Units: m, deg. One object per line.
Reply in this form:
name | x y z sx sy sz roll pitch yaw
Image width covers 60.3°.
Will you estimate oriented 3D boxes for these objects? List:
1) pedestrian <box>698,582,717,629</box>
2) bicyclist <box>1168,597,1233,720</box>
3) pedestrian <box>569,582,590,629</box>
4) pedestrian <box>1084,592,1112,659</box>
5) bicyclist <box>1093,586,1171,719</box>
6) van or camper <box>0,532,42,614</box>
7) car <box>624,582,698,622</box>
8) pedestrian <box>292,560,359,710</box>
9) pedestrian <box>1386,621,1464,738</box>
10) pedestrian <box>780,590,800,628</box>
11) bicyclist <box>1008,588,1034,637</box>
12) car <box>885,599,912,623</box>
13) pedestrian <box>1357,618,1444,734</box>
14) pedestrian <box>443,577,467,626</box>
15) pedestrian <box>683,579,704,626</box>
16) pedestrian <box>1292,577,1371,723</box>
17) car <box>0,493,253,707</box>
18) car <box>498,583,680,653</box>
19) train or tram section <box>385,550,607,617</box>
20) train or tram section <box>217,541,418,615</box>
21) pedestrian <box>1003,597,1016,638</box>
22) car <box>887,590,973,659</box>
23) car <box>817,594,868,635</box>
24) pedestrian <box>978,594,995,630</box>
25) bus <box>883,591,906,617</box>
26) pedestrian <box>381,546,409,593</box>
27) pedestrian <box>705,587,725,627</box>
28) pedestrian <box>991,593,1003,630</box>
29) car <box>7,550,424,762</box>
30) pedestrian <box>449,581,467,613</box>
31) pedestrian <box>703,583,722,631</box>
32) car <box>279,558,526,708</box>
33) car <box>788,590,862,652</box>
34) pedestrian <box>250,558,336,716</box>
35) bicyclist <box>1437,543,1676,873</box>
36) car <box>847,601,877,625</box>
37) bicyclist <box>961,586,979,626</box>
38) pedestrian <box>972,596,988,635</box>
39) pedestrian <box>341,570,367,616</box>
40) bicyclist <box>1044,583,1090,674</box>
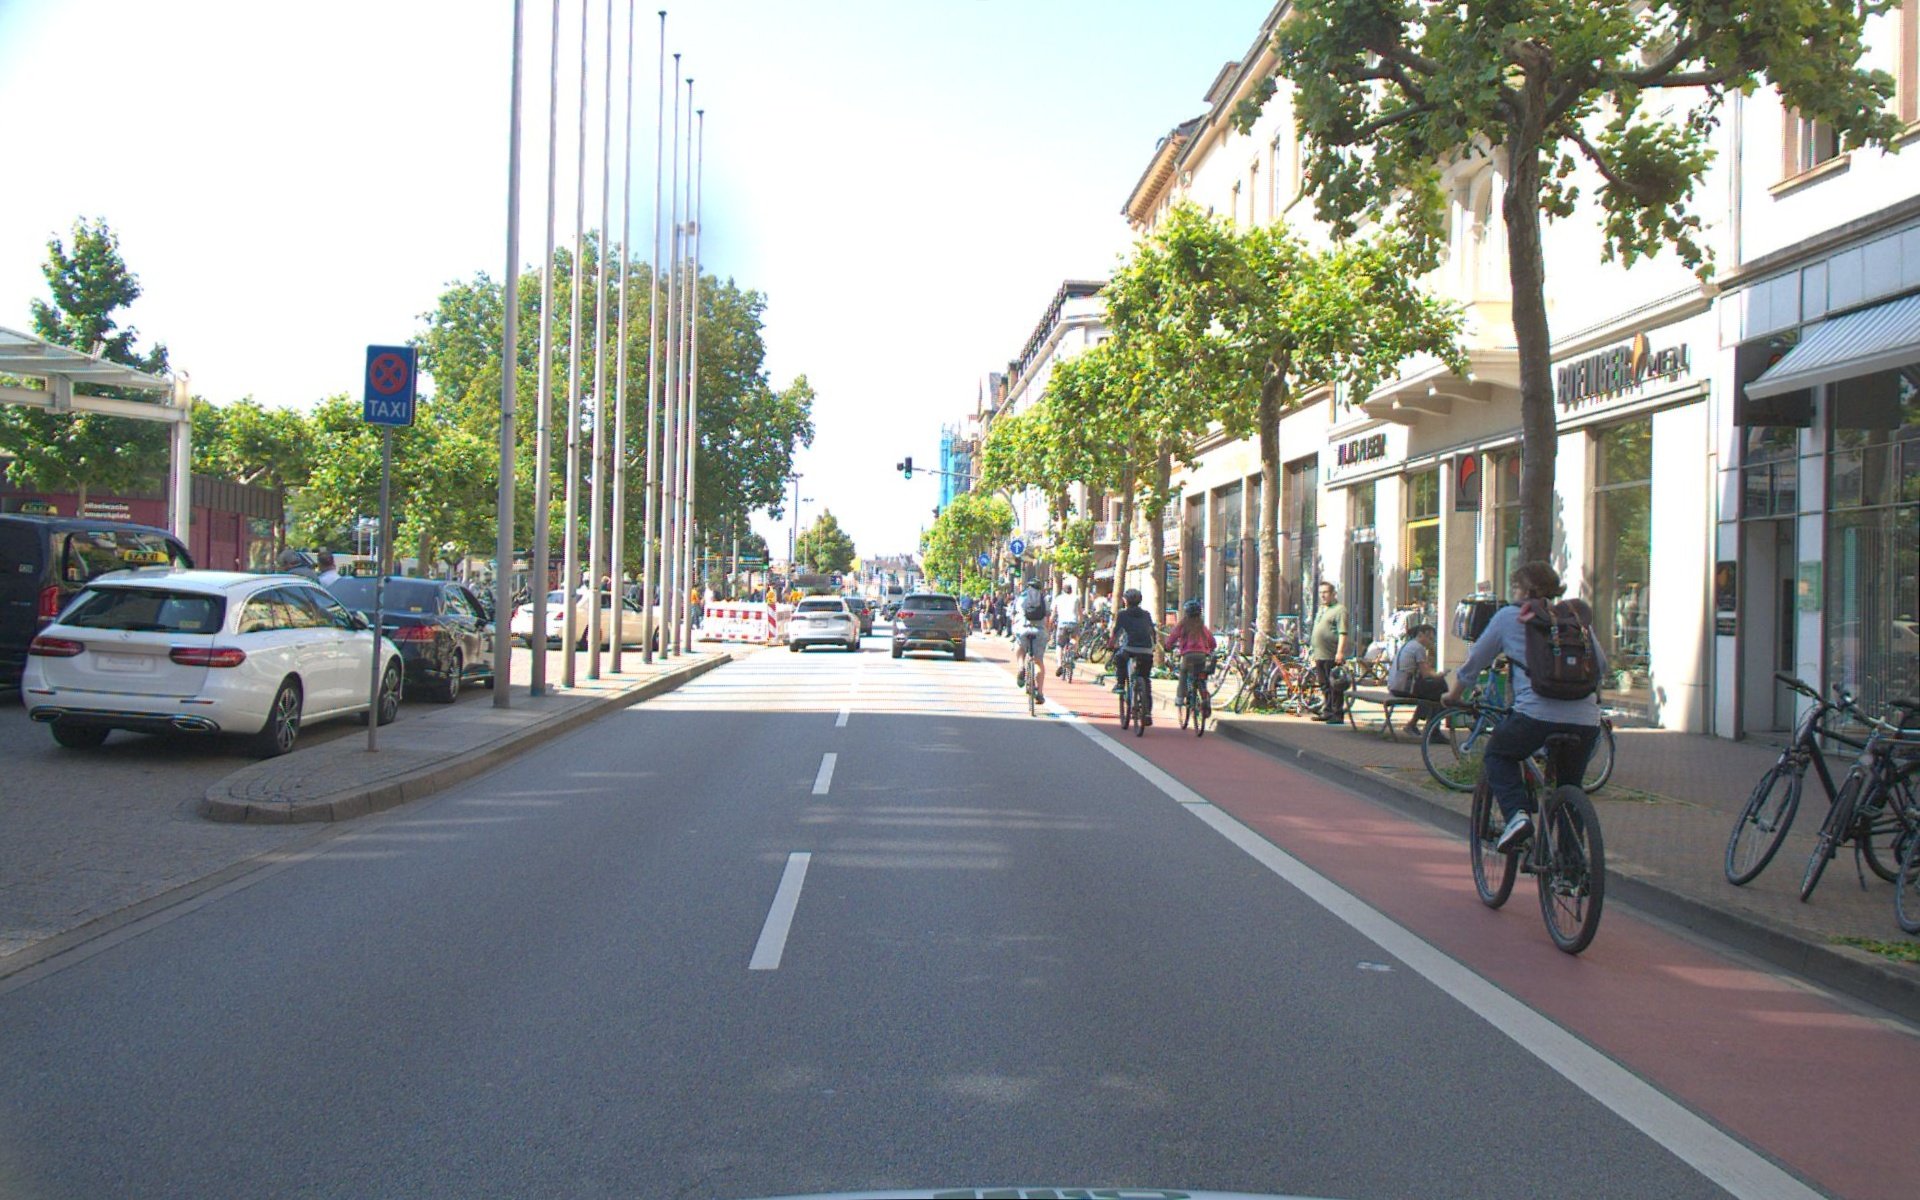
pedestrian | -9.735 0.214 63.786 0.528 1.810 0.606 2 -1 3
bicyclist | 2.810 0.670 19.389 0.588 1.381 0.720 0 2 -6
pedestrian | -14.547 0.219 63.269 0.572 1.752 0.789 1 -5 -1
pedestrian | 3.491 0.640 41.823 0.602 1.640 0.744 1 0 -2
bicyclist | 1.969 0.592 19.042 0.685 1.466 0.789 3 0 -6
van or camper | -23.833 -0.674 38.996 1.836 1.952 5.020 1 -1 -4
car | -15.811 0.133 87.696 1.820 1.989 4.762 1 -1 18
pedestrian | -7.841 0.424 20.442 0.522 1.824 0.537 1 0 37
pedestrian | 5.112 0.866 18.197 0.626 1.254 0.596 2 -1 -5
pedestrian | -7.340 0.374 71.388 0.619 1.623 0.687 1 -1 18
bicyclist | 2.320 0.465 62.864 0.569 1.828 0.845 -1 0 -37
car | -4.703 0.847 126.407 1.809 1.697 3.996 3 0 -5
pedestrian | 4.977 0.857 18.696 0.772 1.265 0.575 2 -1 -5
pedestrian | -18.392 0.059 60.219 0.564 1.769 0.606 2 -1 3
pedestrian | -10.145 0.084 62.886 0.534 1.748 0.599 3 -1 -34
pedestrian | 4.574 0.601 20.403 0.627 1.718 0.842 4 0 -5
car | -9.657 -0.024 18.285 1.795 2.049 4.683 1 0 -3
car | -9.119 0.448 41.112 1.853 1.568 4.859 2 0 24
train or tram section | -28.521 -0.923 103.012 2.566 3.741 15.505 1 0 32
train or tram section | -35.472 -1.134 91.925 2.566 3.741 10.973 1 0 32
pedestrian | 1.994 0.696 66.725 0.537 1.659 0.589 0 -1 0
car | -0.773 0.564 40.105 1.809 1.586 3.996 0 0 -5
car | -4.296 0.509 60.906 1.809 1.474 3.997 0 0 -4
pedestrian | 1.194 0.543 74.339 0.598 1.542 0.677 -3 0 -5
bus | -9.512 0.615 238.754 2.935 3.657 11.736 1 -1 -3
pedestrian | -22.177 -1.190 64.898 0.593 1.780 0.802 1 -2 29
pedestrian | -11.403 0.307 76.997 0.619 1.842 0.731 1 -1 18
pedestrian | 1.539 0.485 69.079 0.512 1.548 0.641 0 -1 0
car | -6.443 0.400 14.982 1.763 1.549 4.736 2 1 -3
pedestrian | -20.793 -0.123 68.524 0.601 1.284 0.608 1 0 -24
pedestrian | -9.383 0.268 62.693 0.425 1.770 0.599 3 -1 -34
car | -6.818 0.356 20.764 1.726 1.628 4.706 1 0 -4
car | -3.603 0.527 44.708 1.808 1.587 3.998 0 0 -2
pedestrian | -7.899 0.424 19.591 0.608 1.824 0.690 1 0 36
bicyclist | 2.850 0.493 7.985 0.685 1.471 0.959 3 0 -6
car | -6.074 0.782 102.321 1.809 1.438 3.997 1 0 -3
bicyclist | 0.383 0.221 66.257 0.634 1.578 0.817 1 0 -3
pedestrian | 0.932 0.709 77.366 0.598 1.770 0.677 -3 0 -5
pedestrian | -20.724 -0.235 56.600 0.564 1.559 0.606 2 -1 3
bicyclist | 1.996 0.528 30.993 0.759 1.664 0.851 1 0 -3
